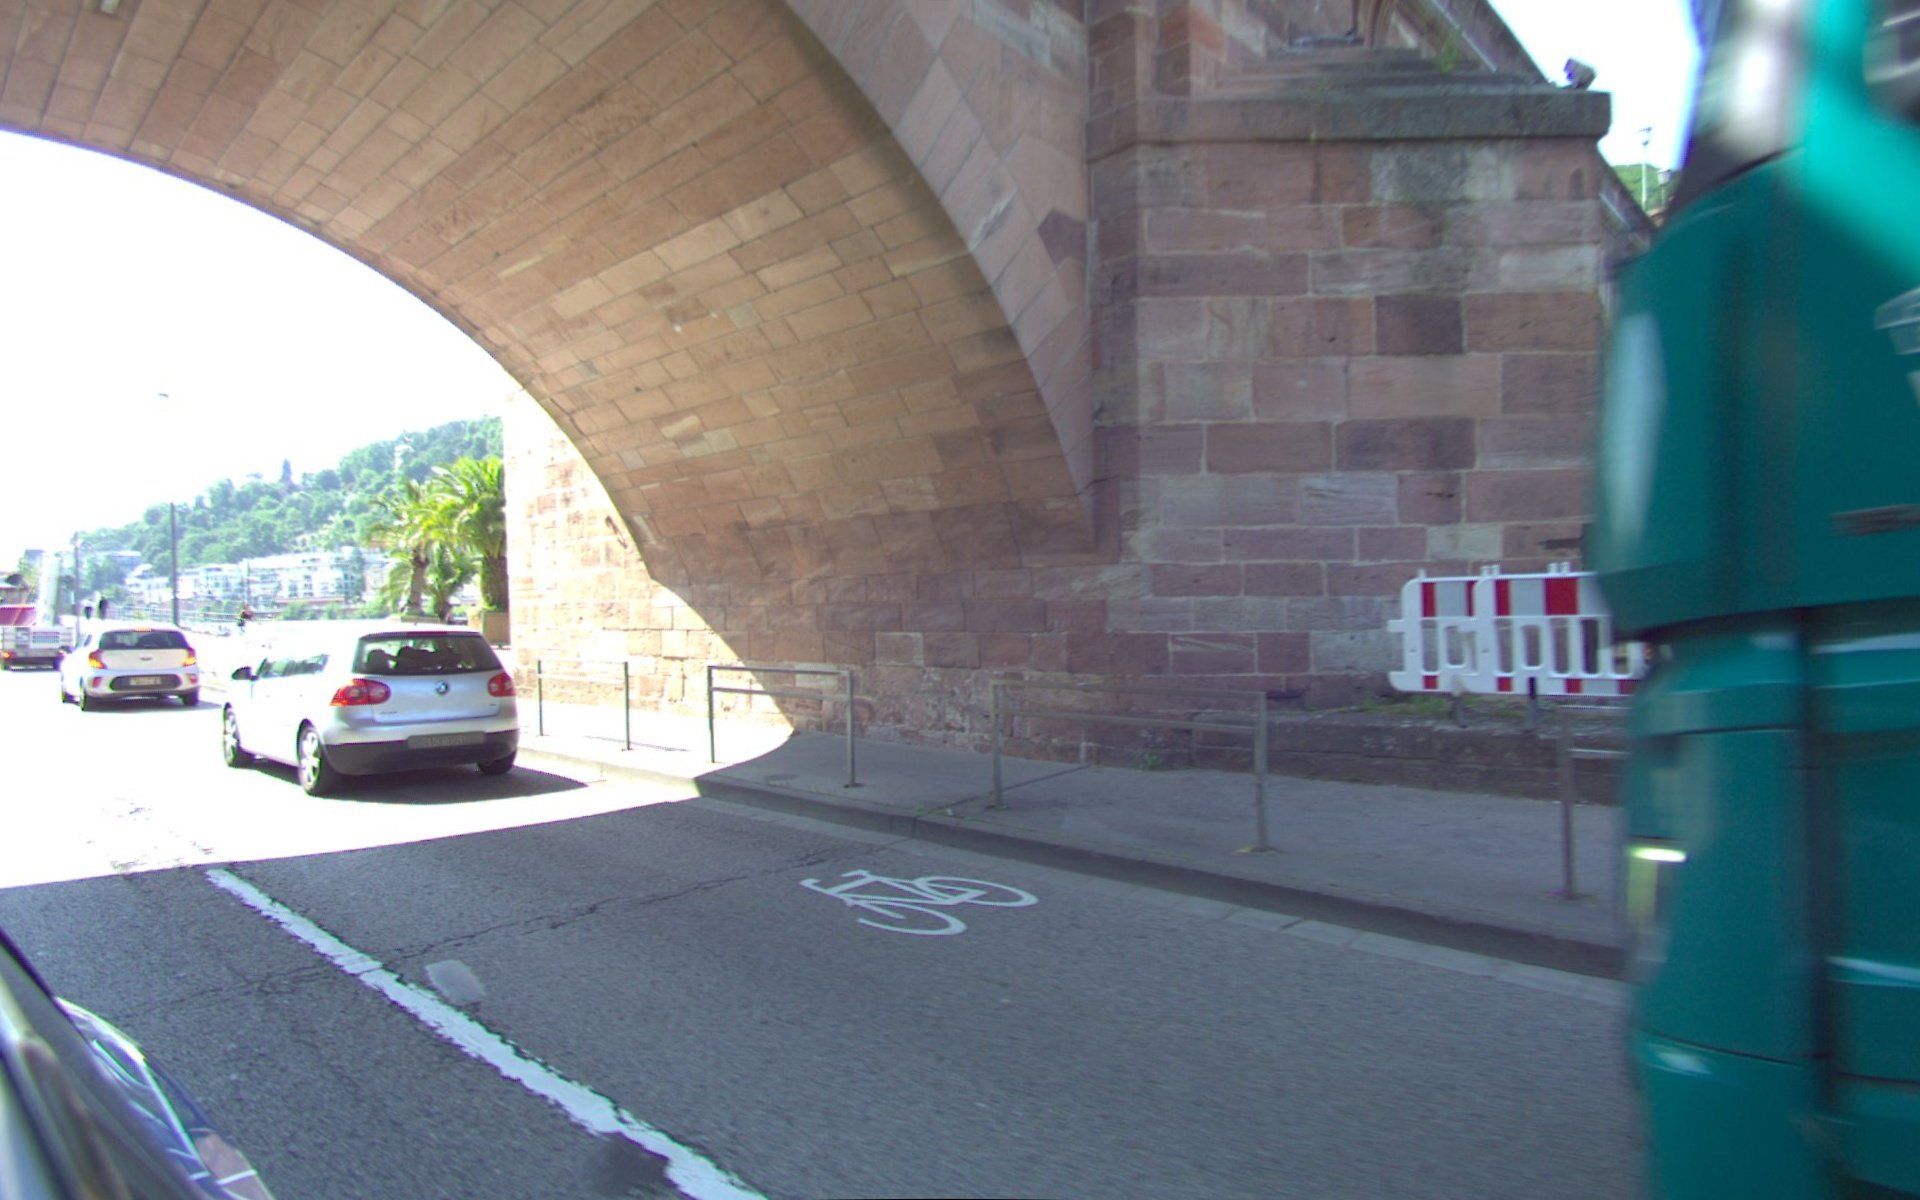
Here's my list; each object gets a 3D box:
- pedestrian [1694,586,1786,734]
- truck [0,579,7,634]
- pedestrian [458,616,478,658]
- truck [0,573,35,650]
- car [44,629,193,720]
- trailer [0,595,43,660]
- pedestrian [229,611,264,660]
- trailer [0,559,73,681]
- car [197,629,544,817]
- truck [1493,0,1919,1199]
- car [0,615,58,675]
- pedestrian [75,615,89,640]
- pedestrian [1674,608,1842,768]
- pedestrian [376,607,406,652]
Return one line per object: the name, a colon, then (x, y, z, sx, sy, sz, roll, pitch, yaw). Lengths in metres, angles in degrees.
pedestrian: (9.179, 0.683, 11.934, 0.772, 1.663, 0.781, -3, -1, 37)
truck: (-64.699, 0.451, 66.749, 2.611, 3.503, 11.116, 0, -1, -44)
pedestrian: (-19.202, 1.431, 39.502, 0.585, 1.613, 0.682, -1, 0, -34)
truck: (-46.406, 0.515, 48.537, 7.875, 3.483, 2.612, 0, -1, 45)
car: (-15.095, 1.245, 18.105, 3.727, 1.447, 1.518, -1, -2, 42)
trailer: (-40.581, 1.075, 42.475, 6.950, 2.550, 2.667, 0, -1, 44)
pedestrian: (-25.835, 1.266, 36.637, 1.151, 1.714, 0.807, 0, 0, 43)
trailer: (-27.188, 0.591, 29.424, 3.384, 3.345, 1.722, -1, -2, 43)
car: (-5.972, 1.019, 10.013, 4.399, 1.447, 1.704, -1, -2, 42)
truck: (4.041, -0.537, 0.562, 6.241, 3.777, 2.498, -3, -3, 40)
car: (-30.777, 1.417, 32.782, 4.543, 1.841, 1.854, -1, -2, 43)
pedestrian: (-61.709, 1.905, 71.123, 0.703, 1.719, 0.846, 0, -2, -43)
pedestrian: (6.720, 0.711, 8.571, 1.024, 1.239, 0.781, -3, -1, 37)
pedestrian: (-22.001, 1.124, 39.116, 0.784, 1.704, 0.847, -1, 0, -45)
